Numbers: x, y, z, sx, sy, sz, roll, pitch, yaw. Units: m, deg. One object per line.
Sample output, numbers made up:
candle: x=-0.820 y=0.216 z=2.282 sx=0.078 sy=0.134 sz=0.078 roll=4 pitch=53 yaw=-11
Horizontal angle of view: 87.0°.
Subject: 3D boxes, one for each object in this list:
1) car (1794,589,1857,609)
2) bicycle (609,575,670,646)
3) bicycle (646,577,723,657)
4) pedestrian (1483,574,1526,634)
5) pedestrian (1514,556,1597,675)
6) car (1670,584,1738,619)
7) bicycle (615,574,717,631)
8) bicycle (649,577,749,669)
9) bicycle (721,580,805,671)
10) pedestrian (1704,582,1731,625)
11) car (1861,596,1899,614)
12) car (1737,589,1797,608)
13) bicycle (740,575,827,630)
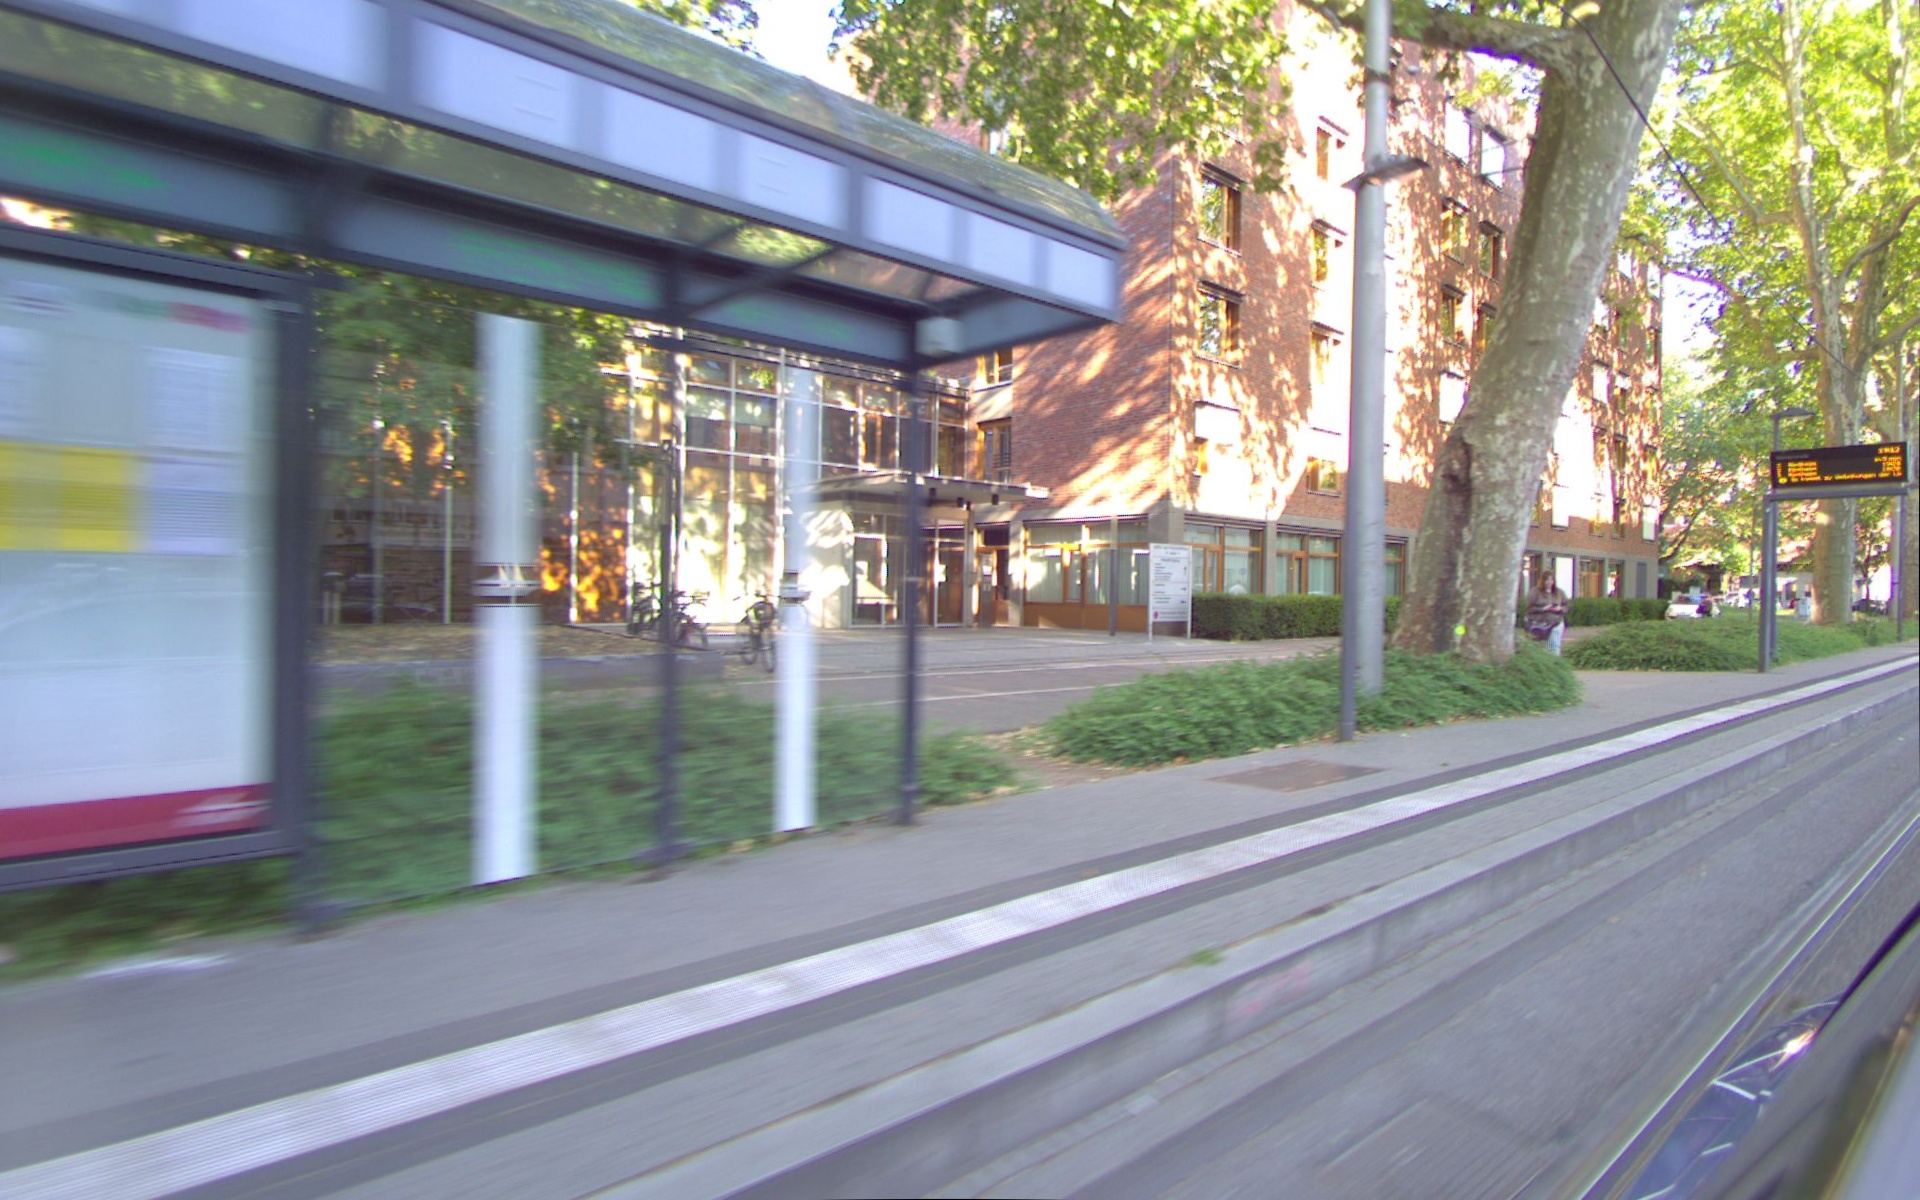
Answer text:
car: x=71.881 y=-0.100 z=84.059 sx=1.964 sy=1.549 sz=3.674 roll=0 pitch=1 yaw=-39
bicycle: x=-5.811 y=0.161 z=18.279 sx=0.561 sy=1.171 sz=1.684 roll=0 pitch=3 yaw=-35
bicycle: x=-4.587 y=0.250 z=16.738 sx=0.561 sy=1.171 sz=2.039 roll=0 pitch=3 yaw=-35
pedestrian: x=15.433 y=0.104 z=28.699 sx=0.901 sy=1.680 sz=0.768 roll=0 pitch=1 yaw=-40
pedestrian: x=8.761 y=0.206 z=14.931 sx=0.757 sy=1.680 sz=0.914 roll=1 pitch=1 yaw=11
car: x=34.396 y=0.066 z=46.760 sx=3.892 sy=1.527 sz=1.657 roll=0 pitch=1 yaw=-41
bicycle: x=-6.390 y=0.044 z=22.024 sx=1.997 sy=1.171 sz=0.709 roll=0 pitch=2 yaw=-31
bicycle: x=-3.777 y=0.290 z=14.526 sx=0.562 sy=1.171 sz=2.036 roll=0 pitch=3 yaw=-39
bicycle: x=-2.916 y=0.337 z=14.841 sx=0.560 sy=1.171 sz=2.041 roll=1 pitch=3 yaw=-30
pedestrian: x=30.747 y=0.143 z=41.086 sx=0.736 sy=1.712 sz=0.710 roll=0 pitch=1 yaw=-42
car: x=84.018 y=0.415 z=92.402 sx=3.610 sy=1.549 sz=1.999 roll=0 pitch=1 yaw=-38
car: x=69.402 y=-0.119 z=87.077 sx=1.964 sy=1.549 sz=3.674 roll=0 pitch=1 yaw=-39
bicycle: x=-4.149 y=0.032 z=23.724 sx=1.930 sy=1.171 sz=0.727 roll=3 pitch=2 yaw=24
